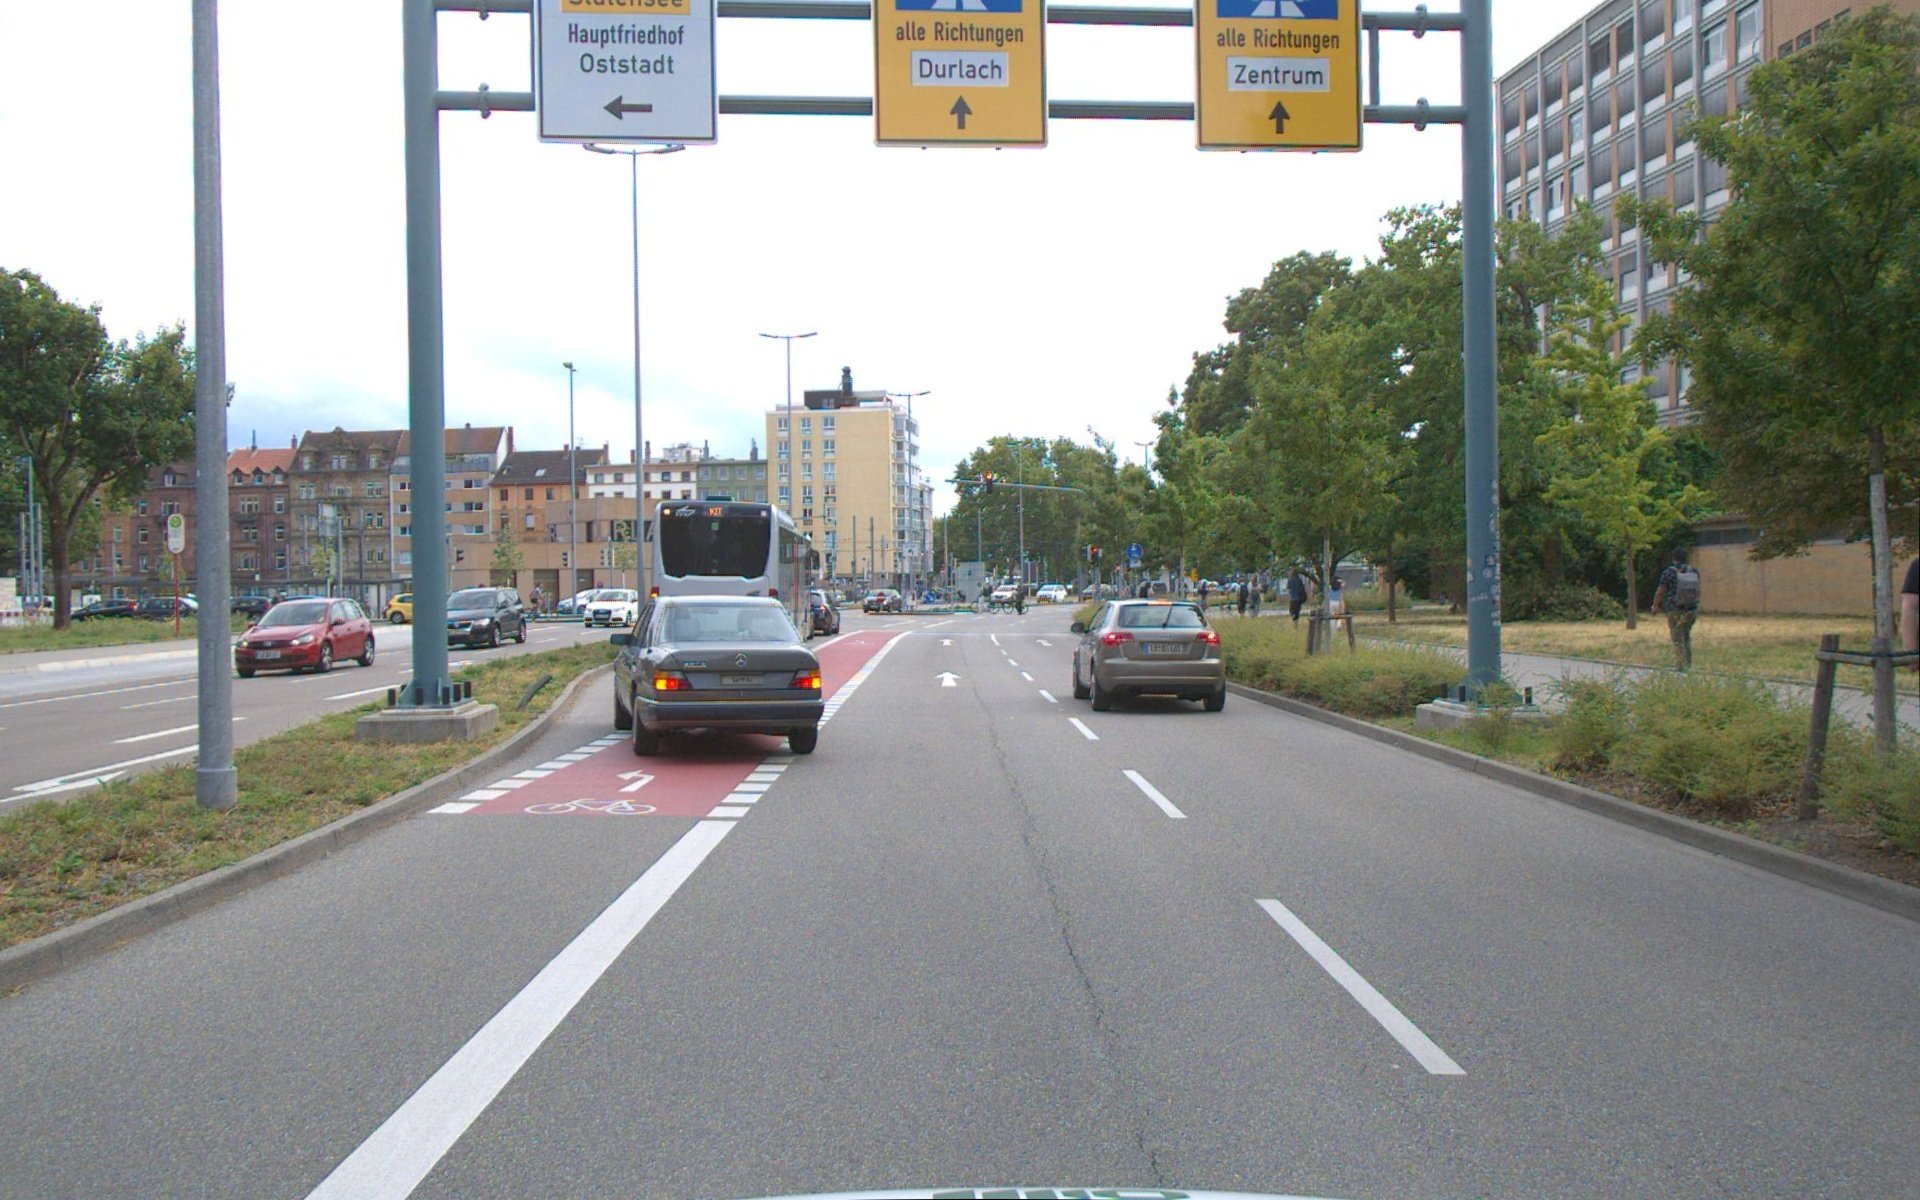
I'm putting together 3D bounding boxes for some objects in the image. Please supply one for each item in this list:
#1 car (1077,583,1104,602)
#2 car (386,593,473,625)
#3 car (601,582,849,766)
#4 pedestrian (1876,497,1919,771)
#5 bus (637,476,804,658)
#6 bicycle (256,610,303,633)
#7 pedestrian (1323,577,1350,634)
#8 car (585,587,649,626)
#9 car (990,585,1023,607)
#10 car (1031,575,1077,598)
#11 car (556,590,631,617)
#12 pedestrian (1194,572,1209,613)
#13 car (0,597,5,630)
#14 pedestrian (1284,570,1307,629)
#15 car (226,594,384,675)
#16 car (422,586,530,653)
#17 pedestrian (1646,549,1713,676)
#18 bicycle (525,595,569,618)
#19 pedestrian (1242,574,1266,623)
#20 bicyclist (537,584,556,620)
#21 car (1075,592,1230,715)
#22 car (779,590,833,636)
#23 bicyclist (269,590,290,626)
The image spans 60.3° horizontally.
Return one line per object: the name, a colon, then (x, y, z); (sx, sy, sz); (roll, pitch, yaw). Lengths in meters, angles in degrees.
car: (13.206, -0.755, 166.849); (1.769, 1.883, 4.002); (-1, 1, 18)
car: (-25.913, 0.433, 80.877); (3.782, 1.544, 1.658); (0, 0, -6)
car: (-2.417, 0.604, 16.103); (1.734, 1.515, 4.150); (-1, 1, -18)
pedestrian: (6.940, 0.220, 11.500); (0.915, 1.862, 0.886); (-1, 0, 26)
bus: (-4.979, -0.686, 35.845); (2.775, 3.449, 8.178); (-1, 1, -3)
bicycle: (-31.869, 1.008, 77.494); (1.926, 0.999, 0.630); (-1, 0, -6)
pedestrian: (9.953, 0.143, 43.717); (0.643, 1.496, 0.562); (-1, 0, 16)
car: (-13.090, 0.226, 63.312); (1.636, 1.413, 3.922); (-2, 1, -1)
car: (3.783, -0.342, 134.215); (1.951, 1.732, 4.004); (-1, 1, 13)
car: (8.951, -1.281, 157.045); (2.531, 2.146, 5.599); (-1, 1, 23)
car: (-19.566, 0.169, 88.240); (3.632, 1.419, 1.569); (0, 0, -29)
pedestrian: (12.249, -0.377, 83.906); (0.602, 2.049, 0.597); (-1, 0, -2)
car: (-50.738, 0.739, 83.460); (4.075, 1.678, 1.644); (-1, 0, -7)
pedestrian: (10.011, -0.018, 49.332); (0.632, 1.743, 0.562); (-1, 0, 14)
car: (-13.490, 0.662, 34.345); (1.766, 1.515, 4.286); (-1, 1, -4)
car: (-13.483, 0.498, 46.310); (1.765, 1.694, 4.299); (-3, 1, -1)
pedestrian: (9.895, 0.164, 22.764); (0.575, 1.712, 0.748); (-1, 0, -1)
bicycle: (-19.583, 0.304, 78.487); (1.925, 0.999, 0.630); (-1, 0, -4)
pedestrian: (10.439, -0.058, 58.668); (0.784, 1.743, 0.765); (-1, 0, 12)
bicyclist: (-19.616, 0.079, 78.481); (0.771, 1.672, 0.613); (-1, 0, -4)
car: (2.549, 0.666, 22.628); (1.689, 1.483, 3.736); (-1, 1, 0)
car: (-5.058, 0.397, 54.555); (1.622, 1.421, 3.857); (-1, 1, -4)
bicyclist: (-31.858, 0.357, 77.443); (0.771, 1.672, 0.571); (-1, 0, -6)
